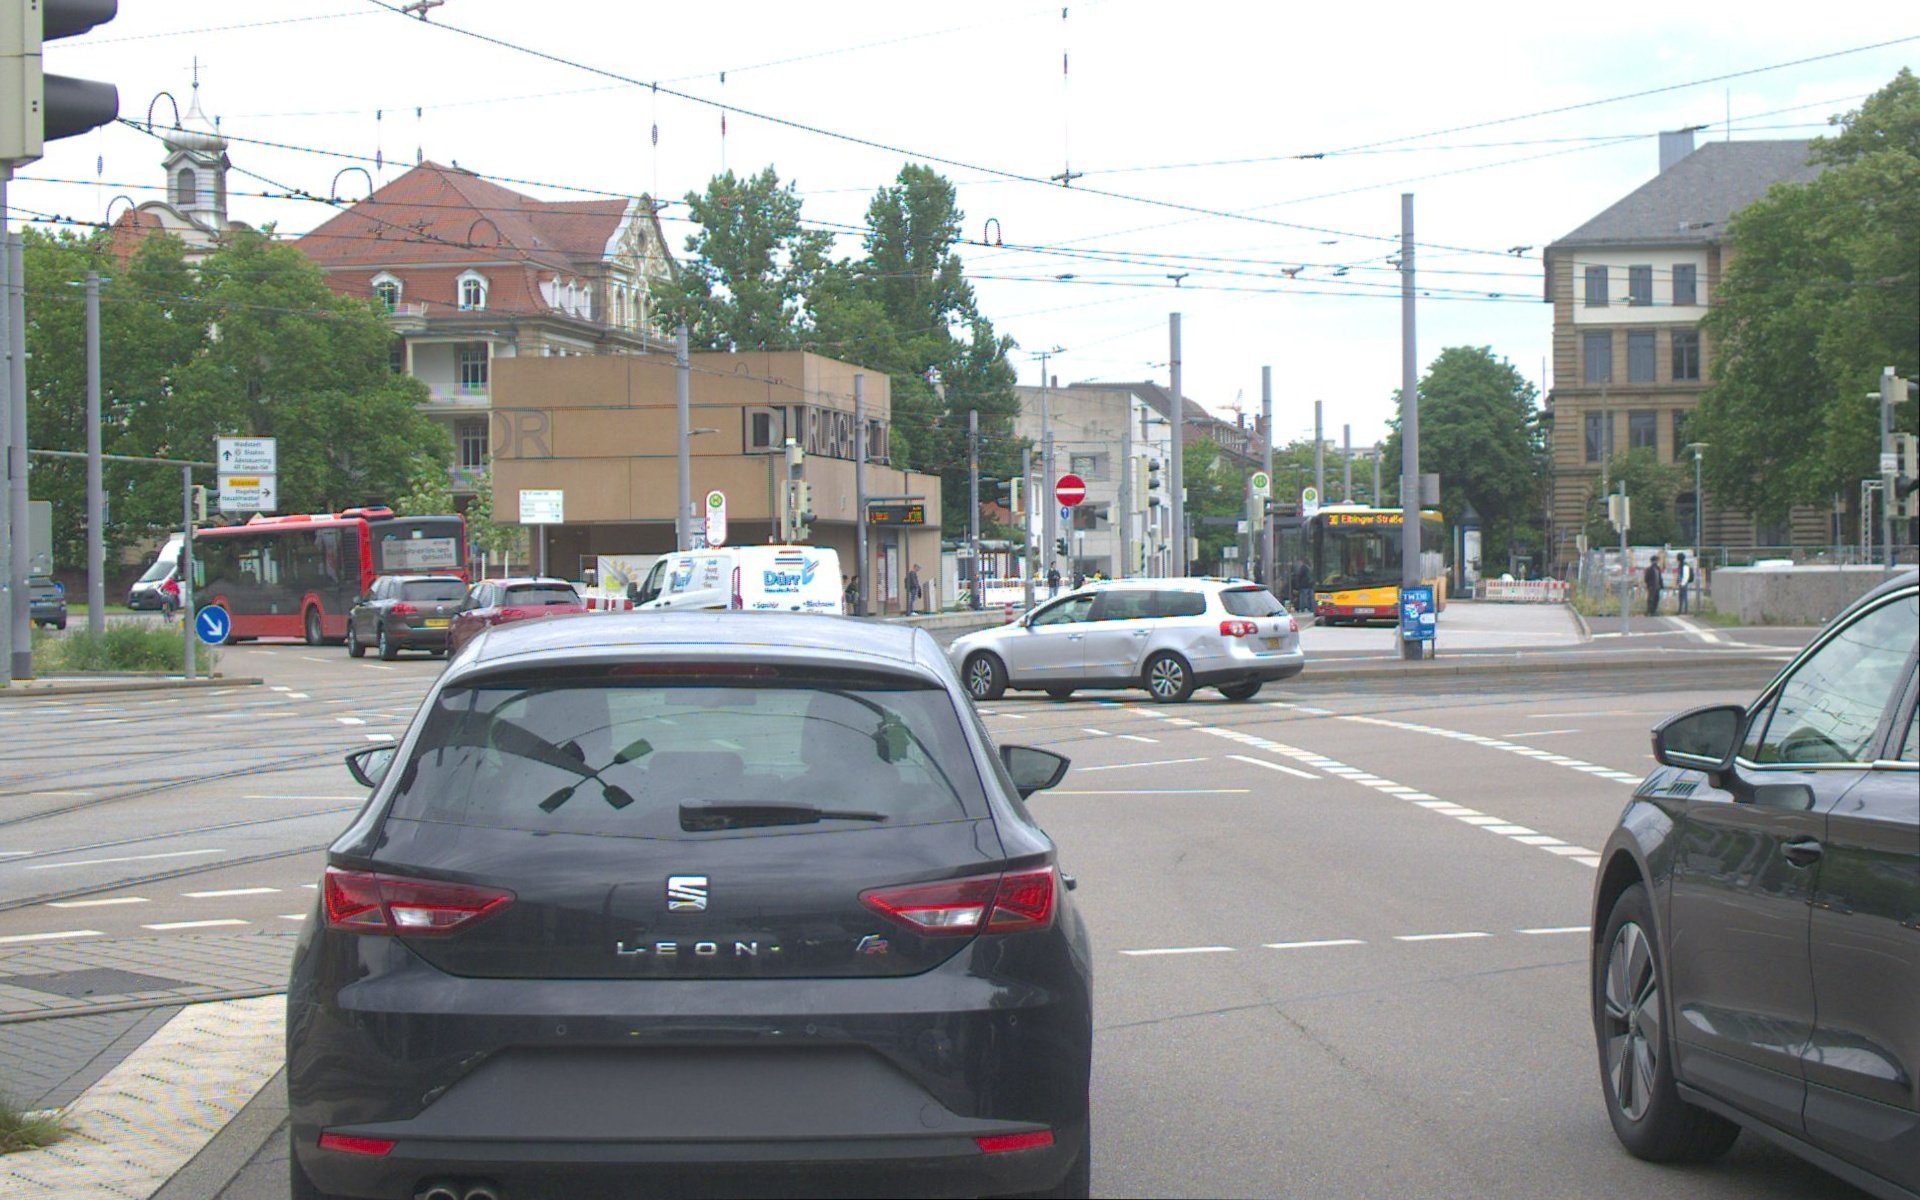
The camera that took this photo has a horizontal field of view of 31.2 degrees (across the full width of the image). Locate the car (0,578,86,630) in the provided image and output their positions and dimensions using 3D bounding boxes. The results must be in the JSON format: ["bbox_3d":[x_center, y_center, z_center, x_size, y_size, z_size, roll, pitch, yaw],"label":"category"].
[{"bbox_3d":[-28.450,0.124,105.568,1.993,1.534,4.000,-1,1,-32],"label":"car"}]

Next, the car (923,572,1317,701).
[{"bbox_3d":[1.942,0.454,42.485,4.622,1.477,1.722,-1,1,35],"label":"car"}]

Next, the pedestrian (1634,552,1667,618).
[{"bbox_3d":[19.516,-0.438,97.205,0.824,1.847,1.020,-1,0,15],"label":"pedestrian"}]

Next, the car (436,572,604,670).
[{"bbox_3d":[-7.563,0.334,58.812,1.857,1.595,4.206,-1,1,-21],"label":"car"}]

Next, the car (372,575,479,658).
[{"bbox_3d":[-10.575,0.306,68.249,1.993,1.560,4.206,-1,1,-8],"label":"car"}]

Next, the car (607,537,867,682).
[{"bbox_3d":[-3.345,0.114,50.537,1.993,2.012,5.032,-1,1,-26],"label":"car"}]

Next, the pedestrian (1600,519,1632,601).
[{"bbox_3d":[34.148,-2.077,178.936,1.387,4.239,1.347,-1,0,-1],"label":"pedestrian"}]

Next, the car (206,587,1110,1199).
[{"bbox_3d":[-0.695,0.708,8.665,1.745,1.459,4.001,0,0,-3],"label":"car"}]

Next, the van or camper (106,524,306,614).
[{"bbox_3d":[-29.331,-1.239,133.926,2.874,3.321,7.134,-2,-1,45],"label":"van or camper"}]

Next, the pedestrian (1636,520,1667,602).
[{"bbox_3d":[35.939,-2.032,178.756,1.307,4.239,1.347,-1,0,-1],"label":"pedestrian"}]

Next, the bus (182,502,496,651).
[{"bbox_3d":[-15.004,-0.534,81.943,3.058,3.286,12.379,-1,0,-32],"label":"bus"}]

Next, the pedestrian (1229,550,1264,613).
[{"bbox_3d":[8.337,-0.550,99.978,0.824,1.802,1.020,-1,0,15],"label":"pedestrian"}]

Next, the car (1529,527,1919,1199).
[{"bbox_3d":[2.739,0.664,7.553,1.903,1.652,4.515,-1,1,-4],"label":"car"}]

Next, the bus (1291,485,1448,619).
[{"bbox_3d":[10.915,-1.236,90.410,3.018,3.257,13.036,-1,0,11],"label":"bus"}]

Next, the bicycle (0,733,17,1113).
[{"bbox_3d":[-3.457,0.926,9.389,1.610,1.066,0.528,-1,0,-40],"label":"bicycle"}]
